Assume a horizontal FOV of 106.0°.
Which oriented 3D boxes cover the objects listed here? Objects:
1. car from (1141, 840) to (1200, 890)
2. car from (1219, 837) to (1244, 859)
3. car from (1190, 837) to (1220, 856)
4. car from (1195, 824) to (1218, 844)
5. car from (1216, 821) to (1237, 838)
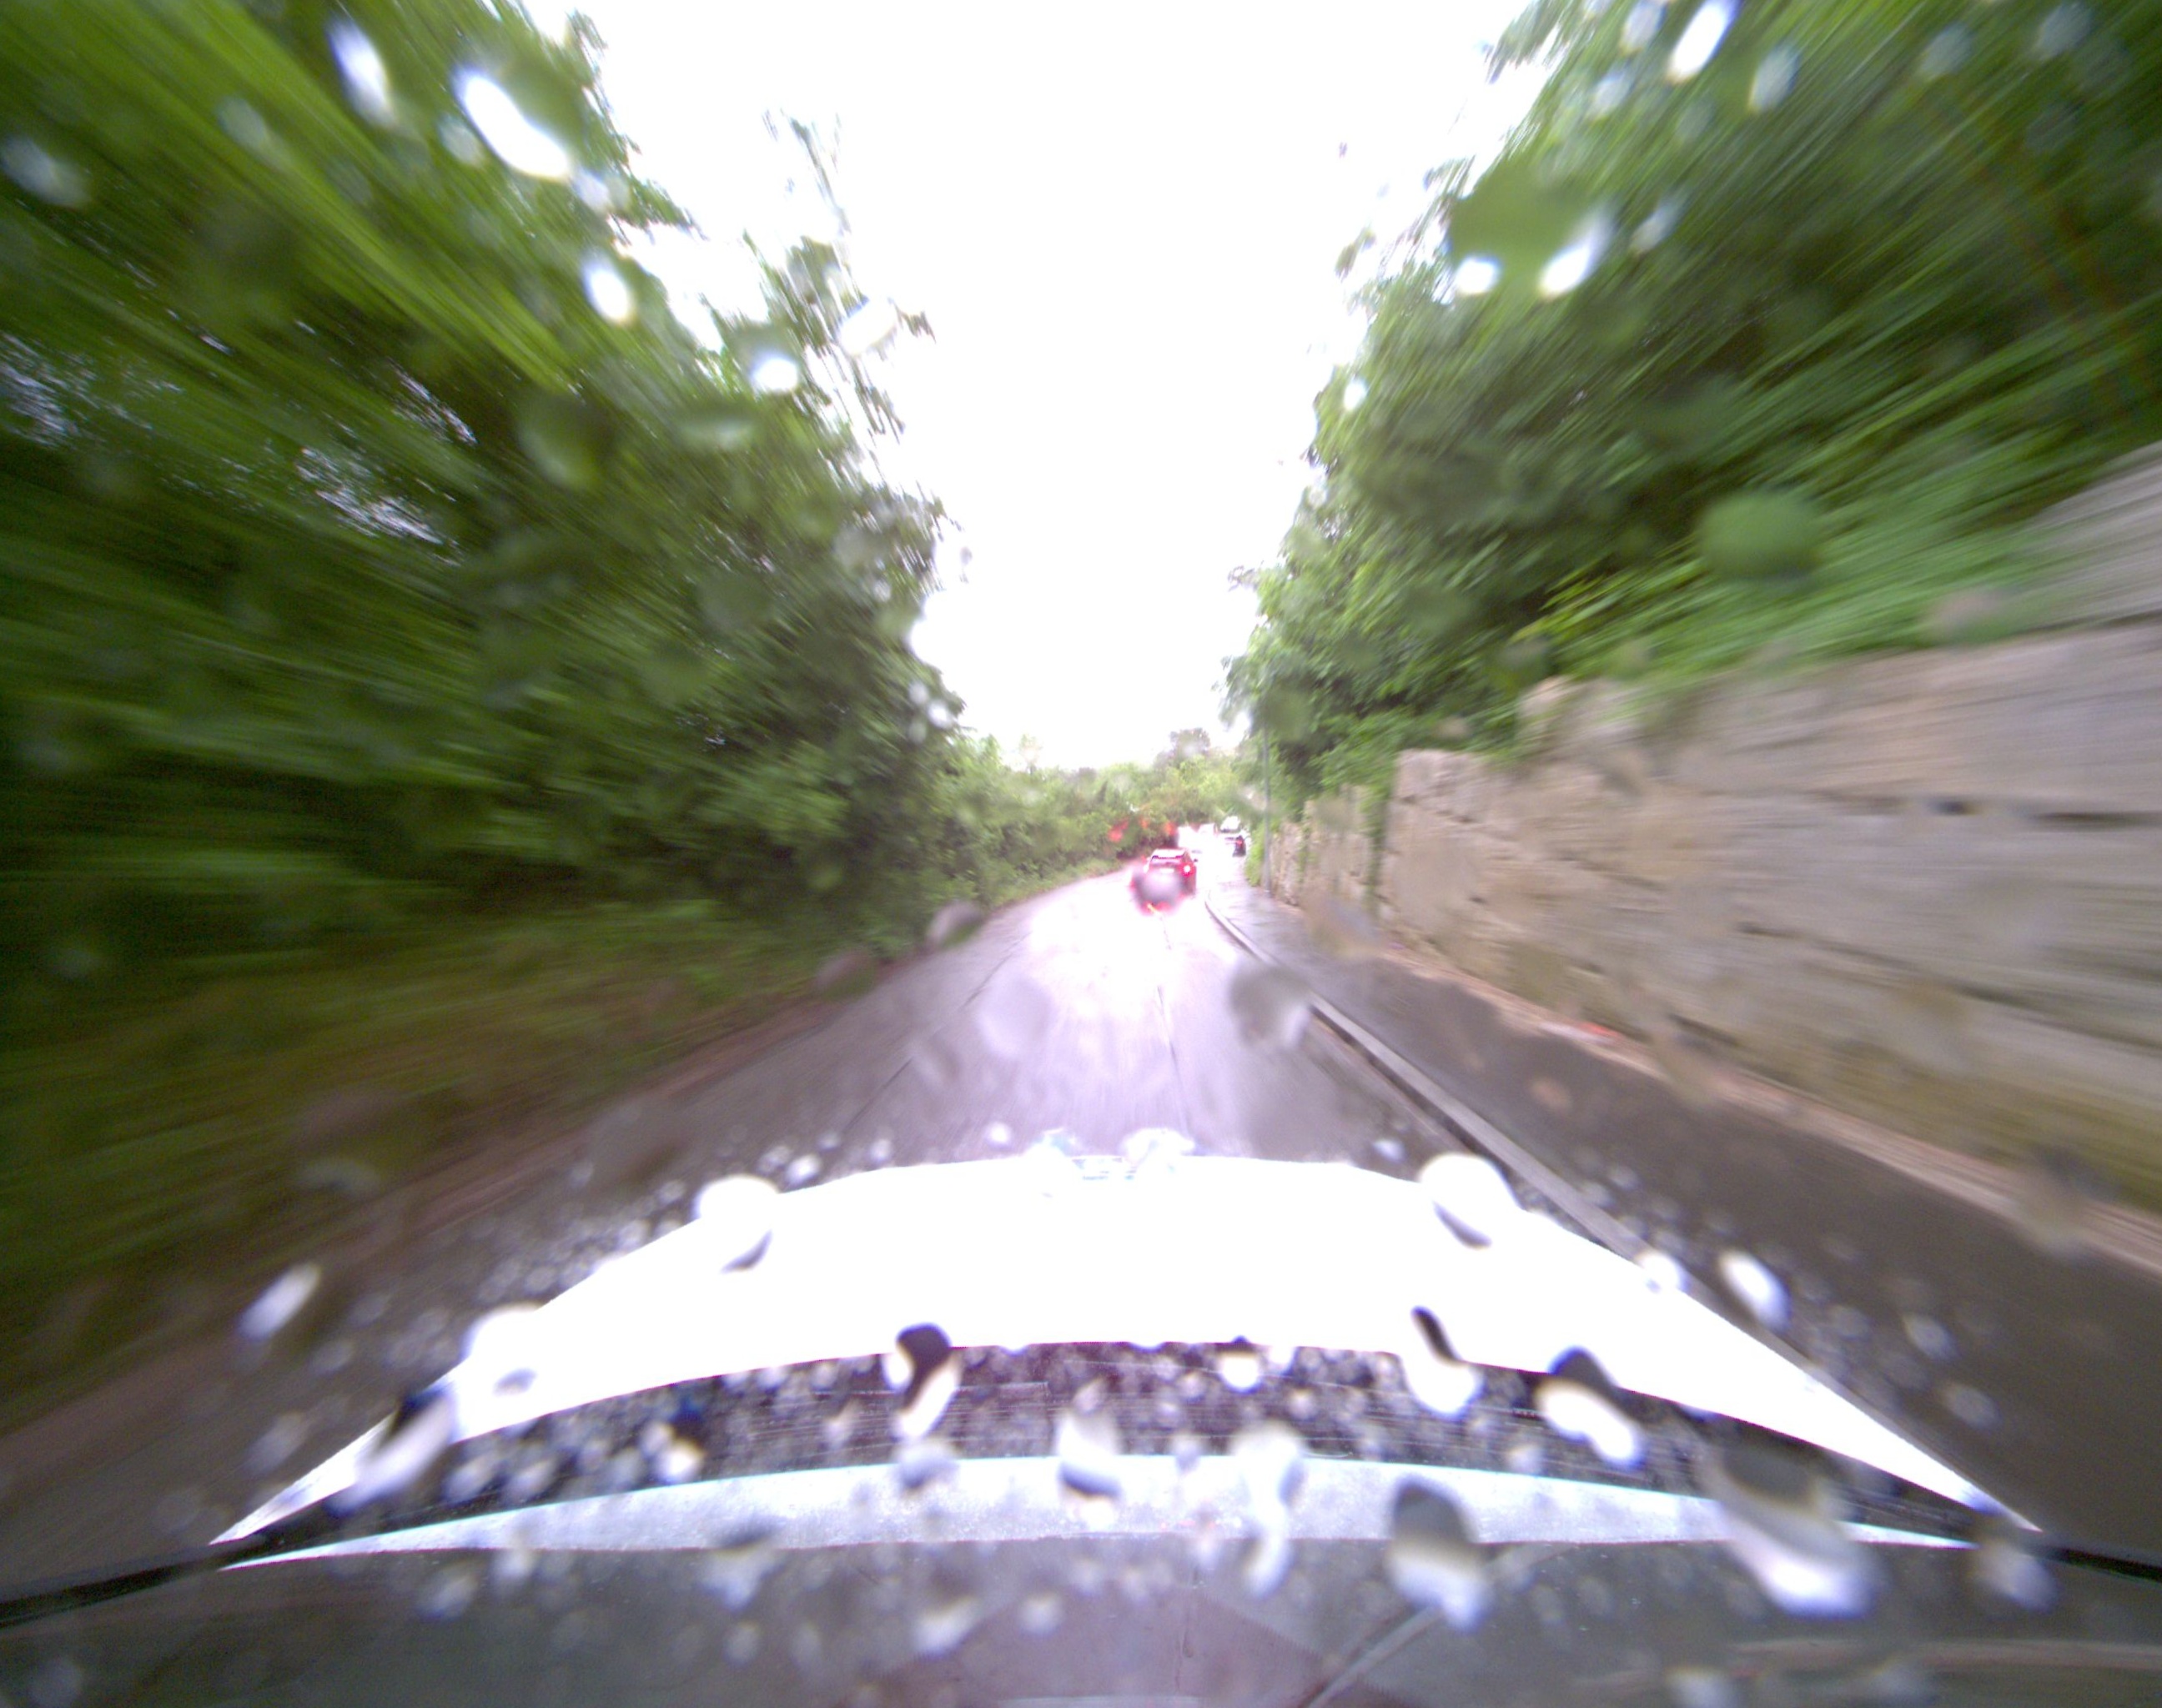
[{"bbox_3d":[3.347,0.335,29.868,1.688,1.449,4.015,-1,4,12],"label":"car"},{"bbox_3d":[12.481,-0.470,67.332,1.850,1.743,4.014,0,0,13],"label":"car"},{"bbox_3d":[10.730,-0.647,70.234,1.926,1.522,4.600,0,0,17],"label":"car"},{"bbox_3d":[12.921,-2.052,83.691,1.676,1.782,4.252,-1,4,16],"label":"car"},{"bbox_3d":[16.642,-2.859,93.098,2.033,1.600,4.248,1,6,14],"label":"car"}]
